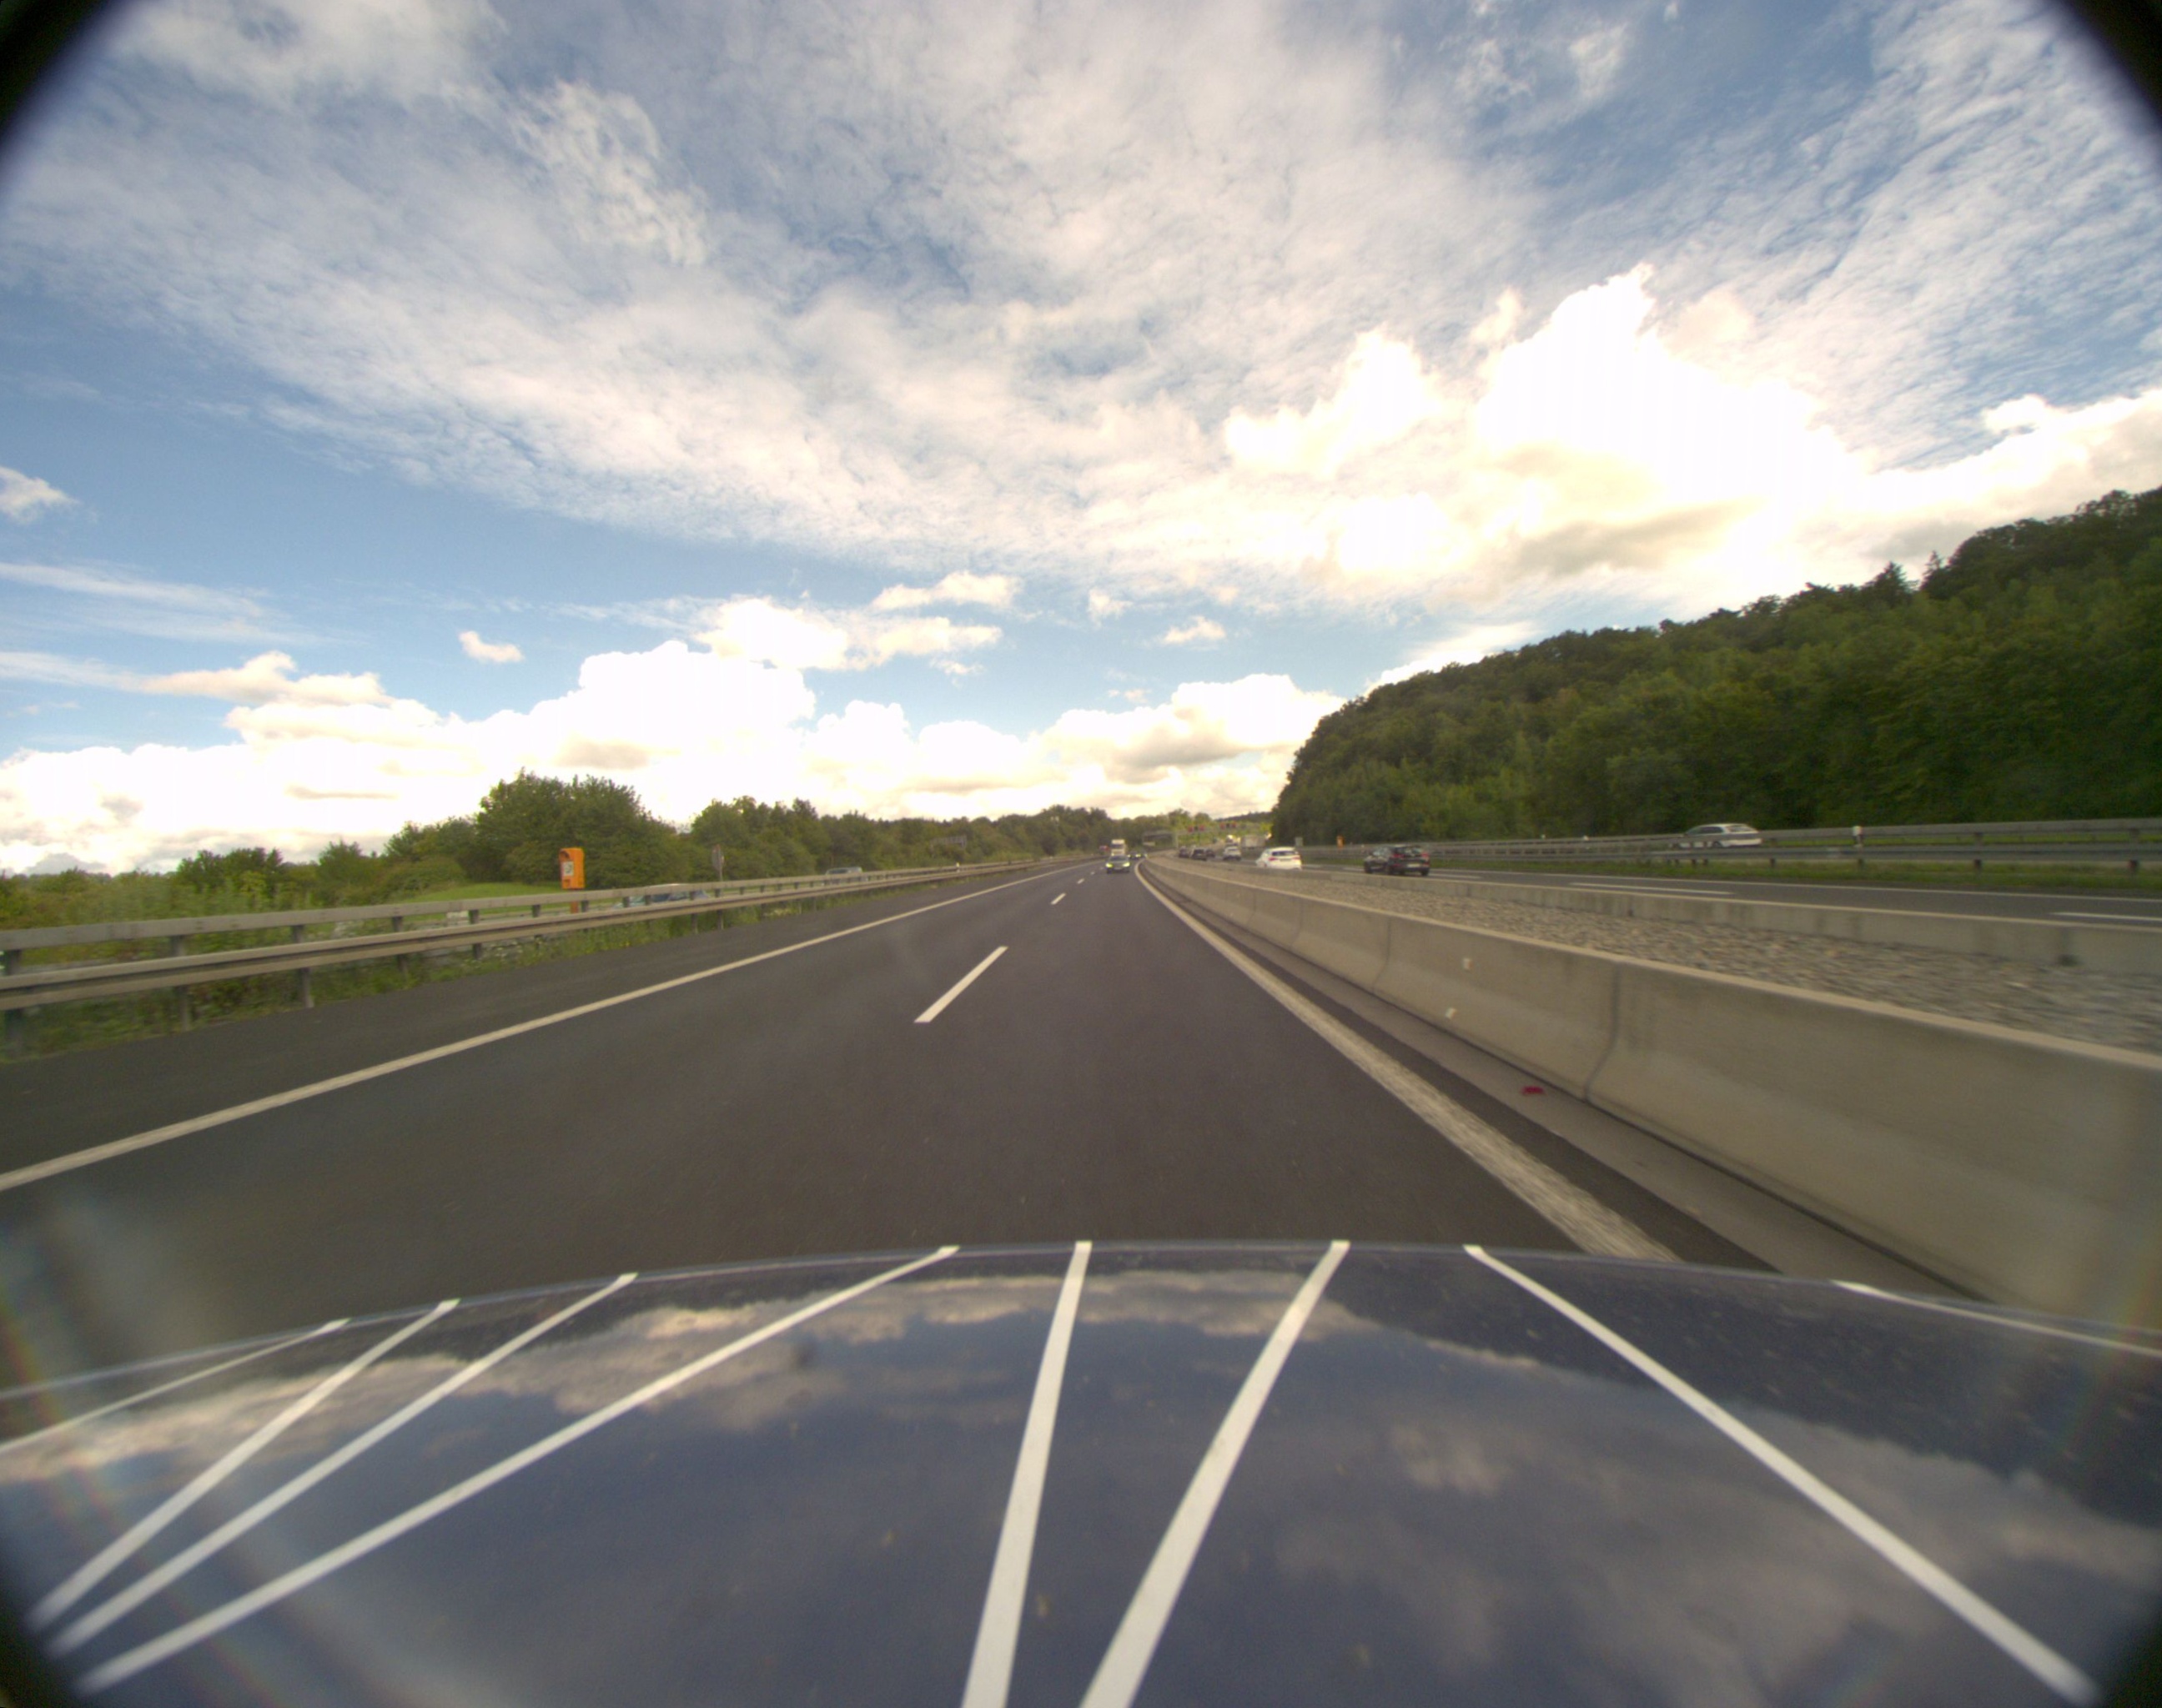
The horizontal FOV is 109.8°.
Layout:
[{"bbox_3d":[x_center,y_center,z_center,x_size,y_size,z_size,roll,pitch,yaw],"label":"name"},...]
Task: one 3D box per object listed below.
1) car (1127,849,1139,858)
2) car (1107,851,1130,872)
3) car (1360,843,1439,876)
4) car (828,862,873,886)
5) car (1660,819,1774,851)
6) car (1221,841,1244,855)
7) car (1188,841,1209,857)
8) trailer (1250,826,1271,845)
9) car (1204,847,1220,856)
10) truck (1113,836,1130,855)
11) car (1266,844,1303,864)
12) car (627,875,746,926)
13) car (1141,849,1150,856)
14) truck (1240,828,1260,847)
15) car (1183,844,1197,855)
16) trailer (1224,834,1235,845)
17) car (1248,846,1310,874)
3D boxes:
[{"bbox_3d":[9.242,-0.019,134.834,1.998,1.464,4.001,-3,0,6],"label":"car"},{"bbox_3d":[3.112,0.604,61.708,1.662,1.464,4.000,-3,1,5],"label":"car"},{"bbox_3d":[14.390,0.208,34.607,1.873,1.329,4.229,-2,0,2],"label":"car"},{"bbox_3d":[-17.308,1.495,57.286,1.788,1.562,4.345,-3,0,4],"label":"car"},{"bbox_3d":[31.827,-0.901,38.233,1.787,1.423,4.624,-3,0,-1],"label":"car"},{"bbox_3d":[18.628,-0.680,93.593,1.890,1.600,4.966,-2,0,2],"label":"car"},{"bbox_3d":[13.970,-0.574,90.429,1.890,1.774,4.953,-2,0,2],"label":"car"},{"bbox_3d":[43.578,-4.533,185.190,3.328,4.268,12.142,-2,2,6],"label":"trailer"},{"bbox_3d":[21.822,-0.425,126.538,1.998,1.394,4.813,-2,0,2],"label":"car"},{"bbox_3d":[8.510,-1.858,159.048,2.795,3.563,11.459,-2,2,5],"label":"truck"},{"bbox_3d":[16.424,-0.017,61.614,1.890,1.421,4.578,-2,0,2],"label":"car"},{"bbox_3d":[-14.722,1.675,28.714,1.788,1.510,4.676,-3,1,3],"label":"car"},{"bbox_3d":[14.190,-0.373,166.897,1.998,1.464,4.001,-3,1,5],"label":"car"},{"bbox_3d":[37.955,-3.736,171.241,2.908,3.946,10.465,-2,2,5],"label":"truck"},{"bbox_3d":[17.314,-0.707,121.009,1.890,1.693,4.968,-2,0,6],"label":"car"},{"bbox_3d":[51.264,-4.942,262.034,2.818,3.785,12.192,-3,1,7],"label":"trailer"},{"bbox_3d":[10.720,0.289,41.638,2.051,1.329,5.608,-2,0,2],"label":"car"}]
